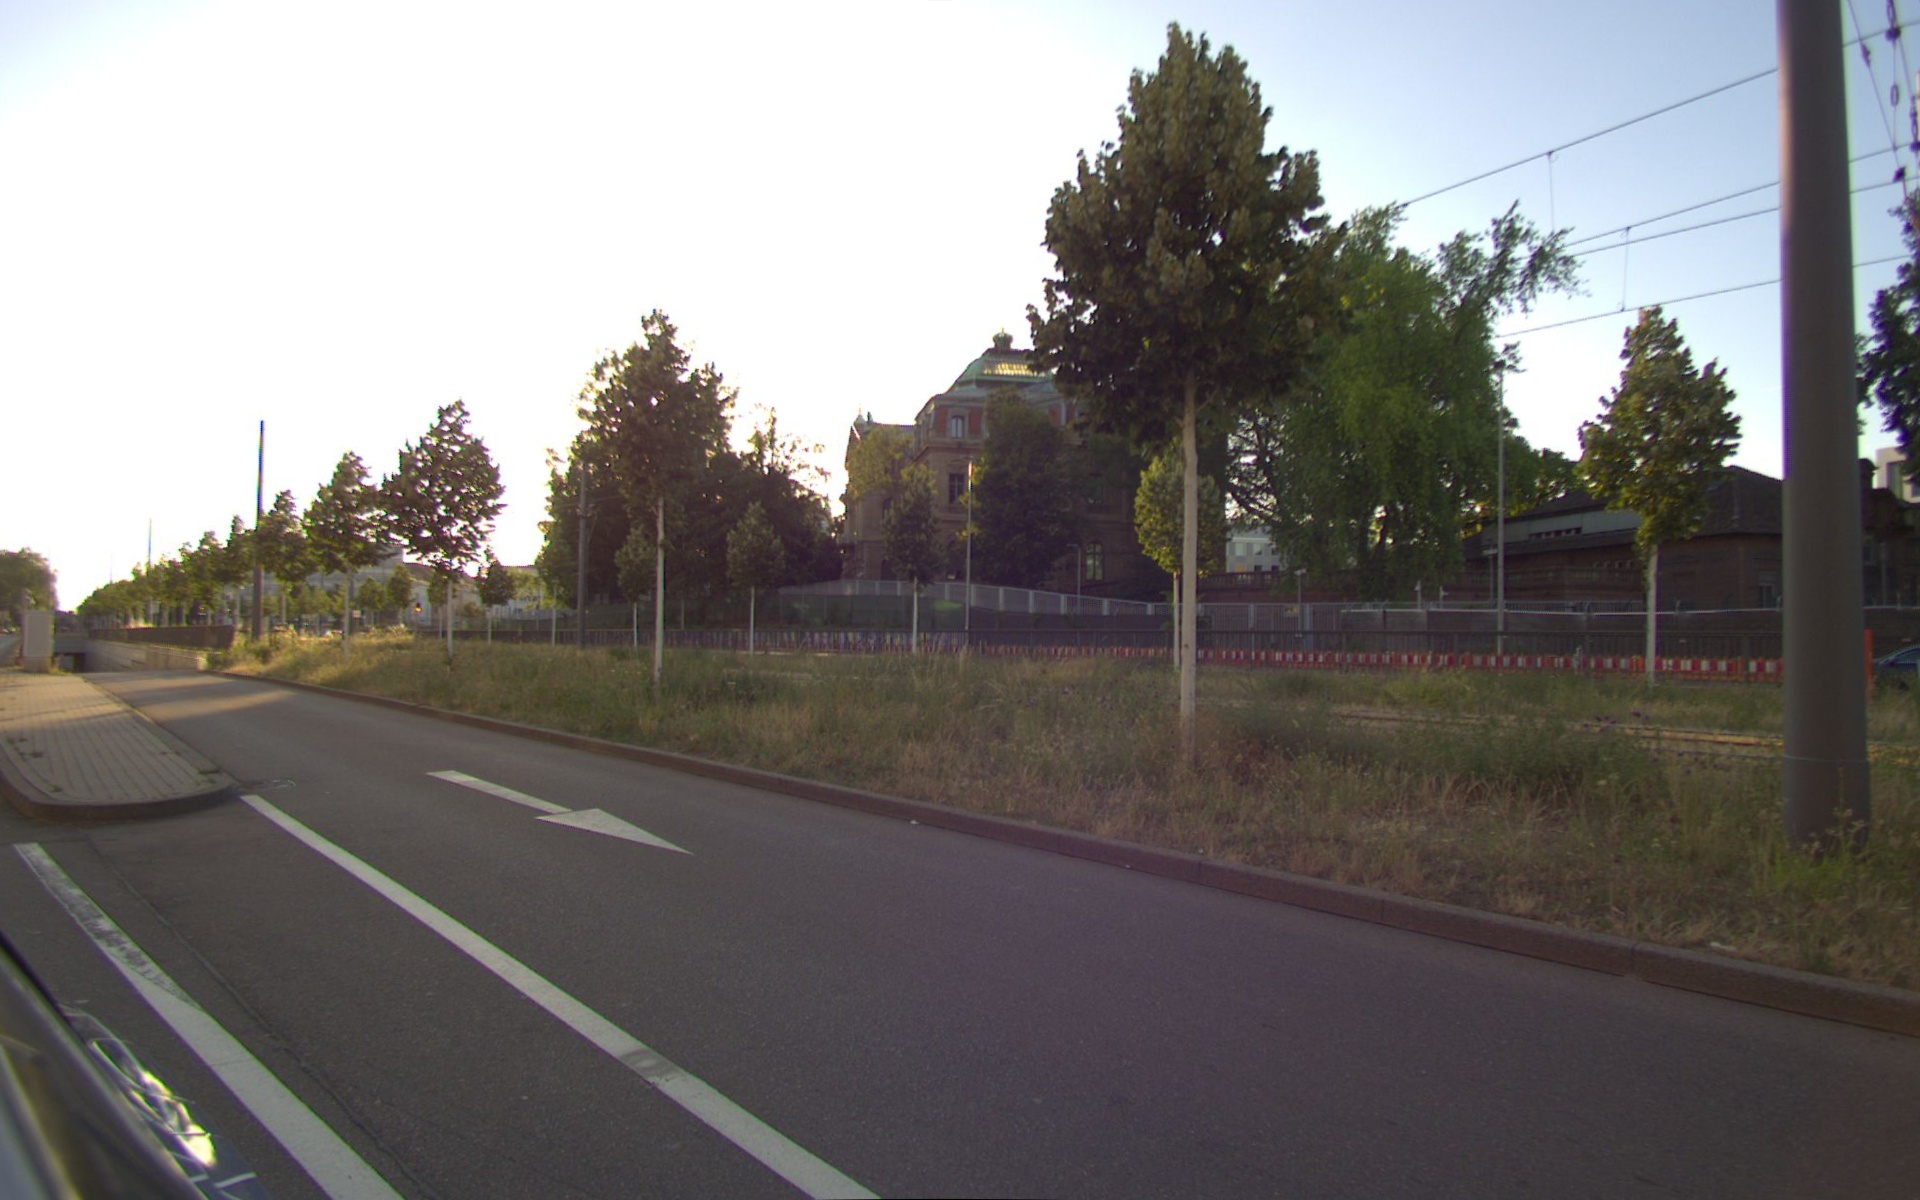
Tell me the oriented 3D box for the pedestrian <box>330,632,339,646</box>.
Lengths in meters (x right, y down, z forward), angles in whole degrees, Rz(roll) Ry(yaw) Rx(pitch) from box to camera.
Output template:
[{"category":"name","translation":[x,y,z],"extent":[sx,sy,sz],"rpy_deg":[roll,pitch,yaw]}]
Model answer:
[{"category":"pedestrian","translation":[-82.459,5.170,133.481],"extent":[0.837,1.861,0.801],"rpy_deg":[-2,-2,41]}]

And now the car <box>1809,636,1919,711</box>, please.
[{"category":"car","translation":[20.798,1.517,21.142],"extent":[4.523,1.492,1.910],"rpy_deg":[-4,-3,44]}]
